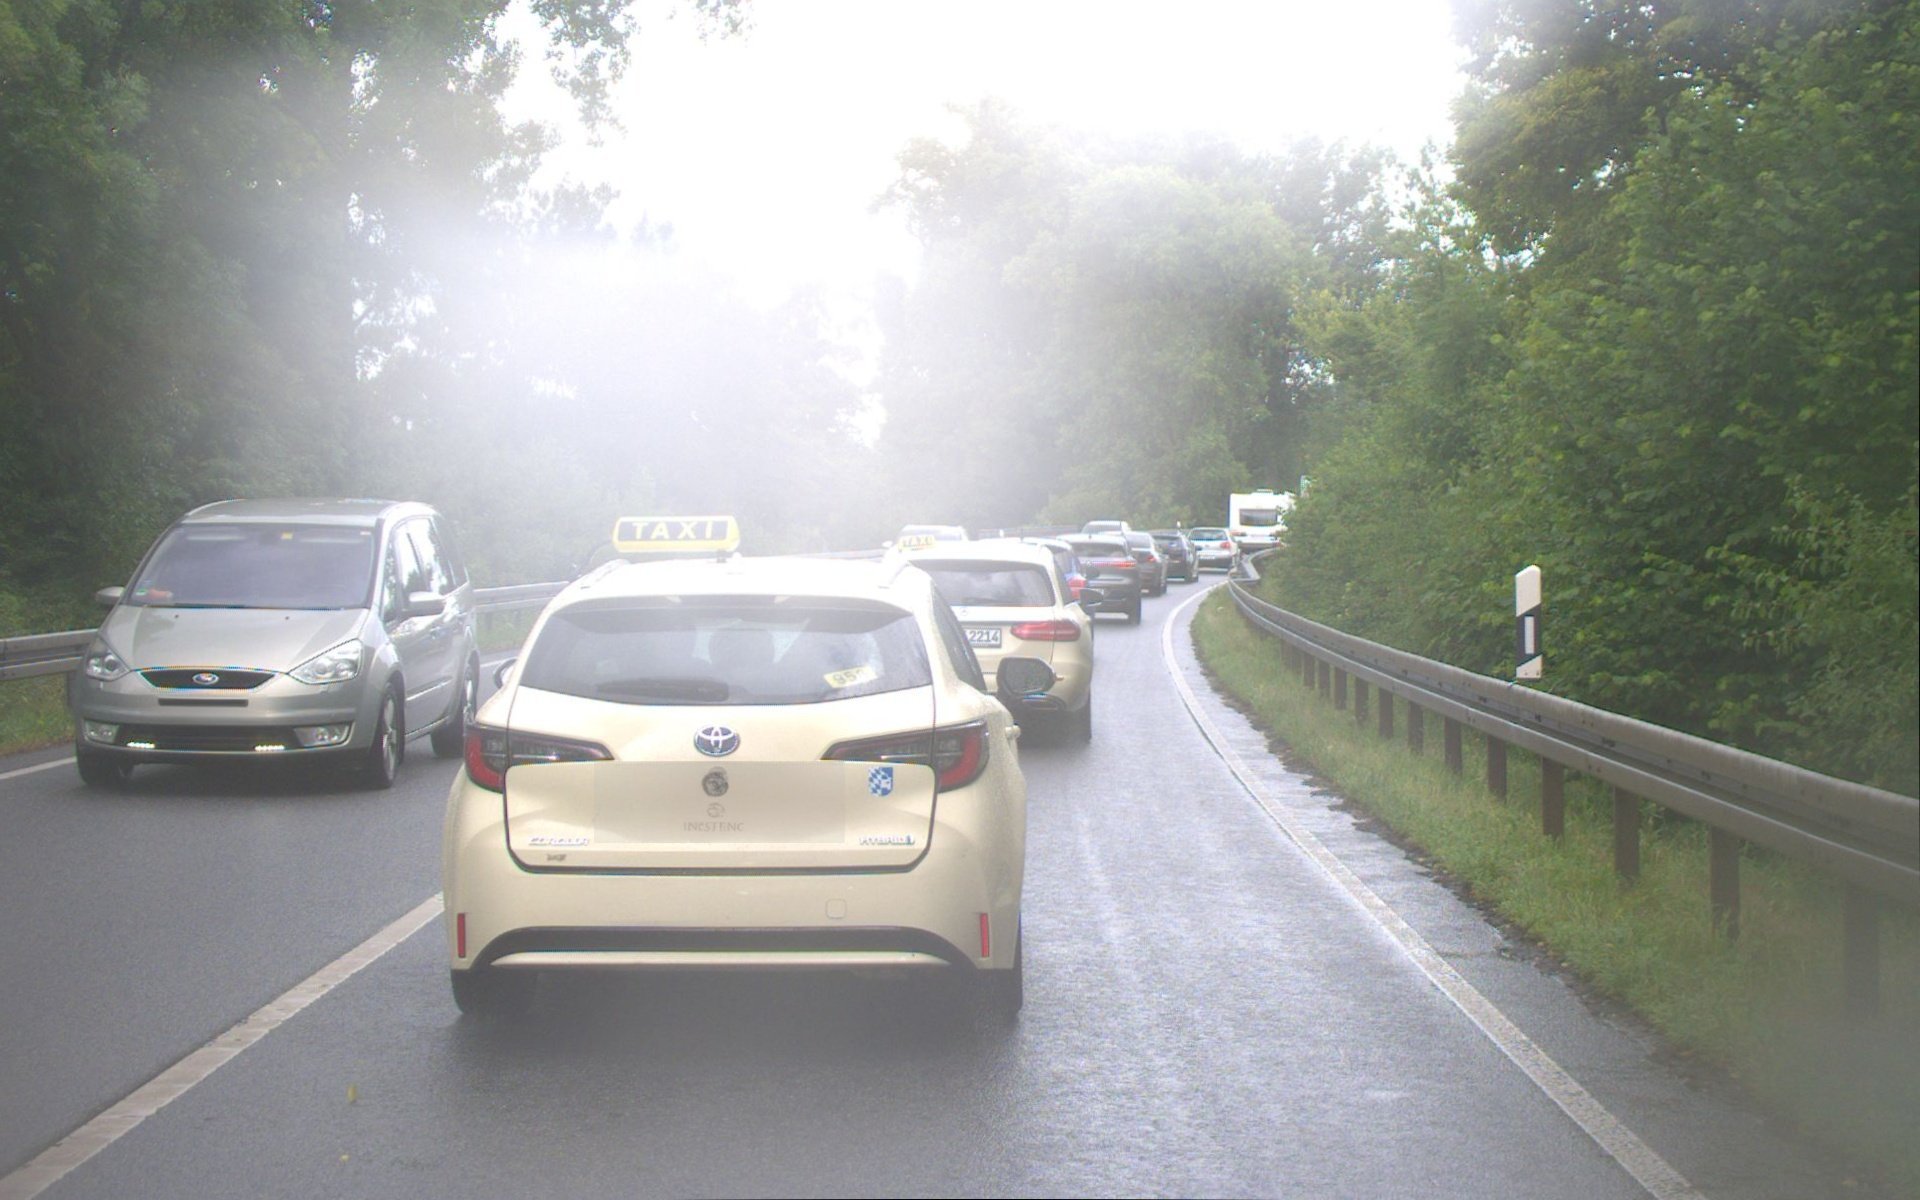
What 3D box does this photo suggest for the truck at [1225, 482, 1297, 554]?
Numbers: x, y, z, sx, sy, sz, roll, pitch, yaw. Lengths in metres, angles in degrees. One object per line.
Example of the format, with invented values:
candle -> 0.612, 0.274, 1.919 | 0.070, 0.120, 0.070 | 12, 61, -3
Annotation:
truck -> 11.995, -3.247, 137.390 | 2.550, 2.704, 7.534 | 1, 0, 3

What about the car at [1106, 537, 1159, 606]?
car -> 3.923, -0.645, 78.445 | 1.167, 1.541, 2.604 | 1, 0, 2

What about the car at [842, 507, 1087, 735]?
car -> 0.101, 0.136, 26.000 | 1.667, 1.575, 3.892 | 1, 0, 2

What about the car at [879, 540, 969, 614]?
car -> -0.736, -0.512, 73.773 | 1.807, 1.527, 4.206 | 0, 1, 1

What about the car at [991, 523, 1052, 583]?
car -> 2.128, -1.601, 117.725 | 1.993, 2.007, 4.000 | 1, 0, 2

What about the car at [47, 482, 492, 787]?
car -> -4.168, 0.177, 21.500 | 1.815, 1.680, 4.622 | 1, 0, 0

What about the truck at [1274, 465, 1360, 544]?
truck -> 17.446, -4.645, 167.712 | 3.109, 3.668, 6.995 | 1, 0, 15

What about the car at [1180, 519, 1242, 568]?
car -> 8.228, -1.828, 112.471 | 1.770, 1.541, 3.813 | 1, 0, 8

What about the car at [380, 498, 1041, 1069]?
car -> -0.685, 0.500, 11.704 | 1.834, 1.575, 4.157 | 1, 0, 0

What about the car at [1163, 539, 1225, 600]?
car -> 6.348, -0.816, 93.305 | 1.616, 1.607, 3.621 | 1, 0, 4

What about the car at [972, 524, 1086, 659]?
car -> 0.825, -0.111, 41.317 | 1.300, 1.541, 3.260 | 1, 0, 1

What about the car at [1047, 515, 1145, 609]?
car -> 2.332, -0.618, 58.702 | 1.611, 1.541, 3.813 | 0, 0, 2
